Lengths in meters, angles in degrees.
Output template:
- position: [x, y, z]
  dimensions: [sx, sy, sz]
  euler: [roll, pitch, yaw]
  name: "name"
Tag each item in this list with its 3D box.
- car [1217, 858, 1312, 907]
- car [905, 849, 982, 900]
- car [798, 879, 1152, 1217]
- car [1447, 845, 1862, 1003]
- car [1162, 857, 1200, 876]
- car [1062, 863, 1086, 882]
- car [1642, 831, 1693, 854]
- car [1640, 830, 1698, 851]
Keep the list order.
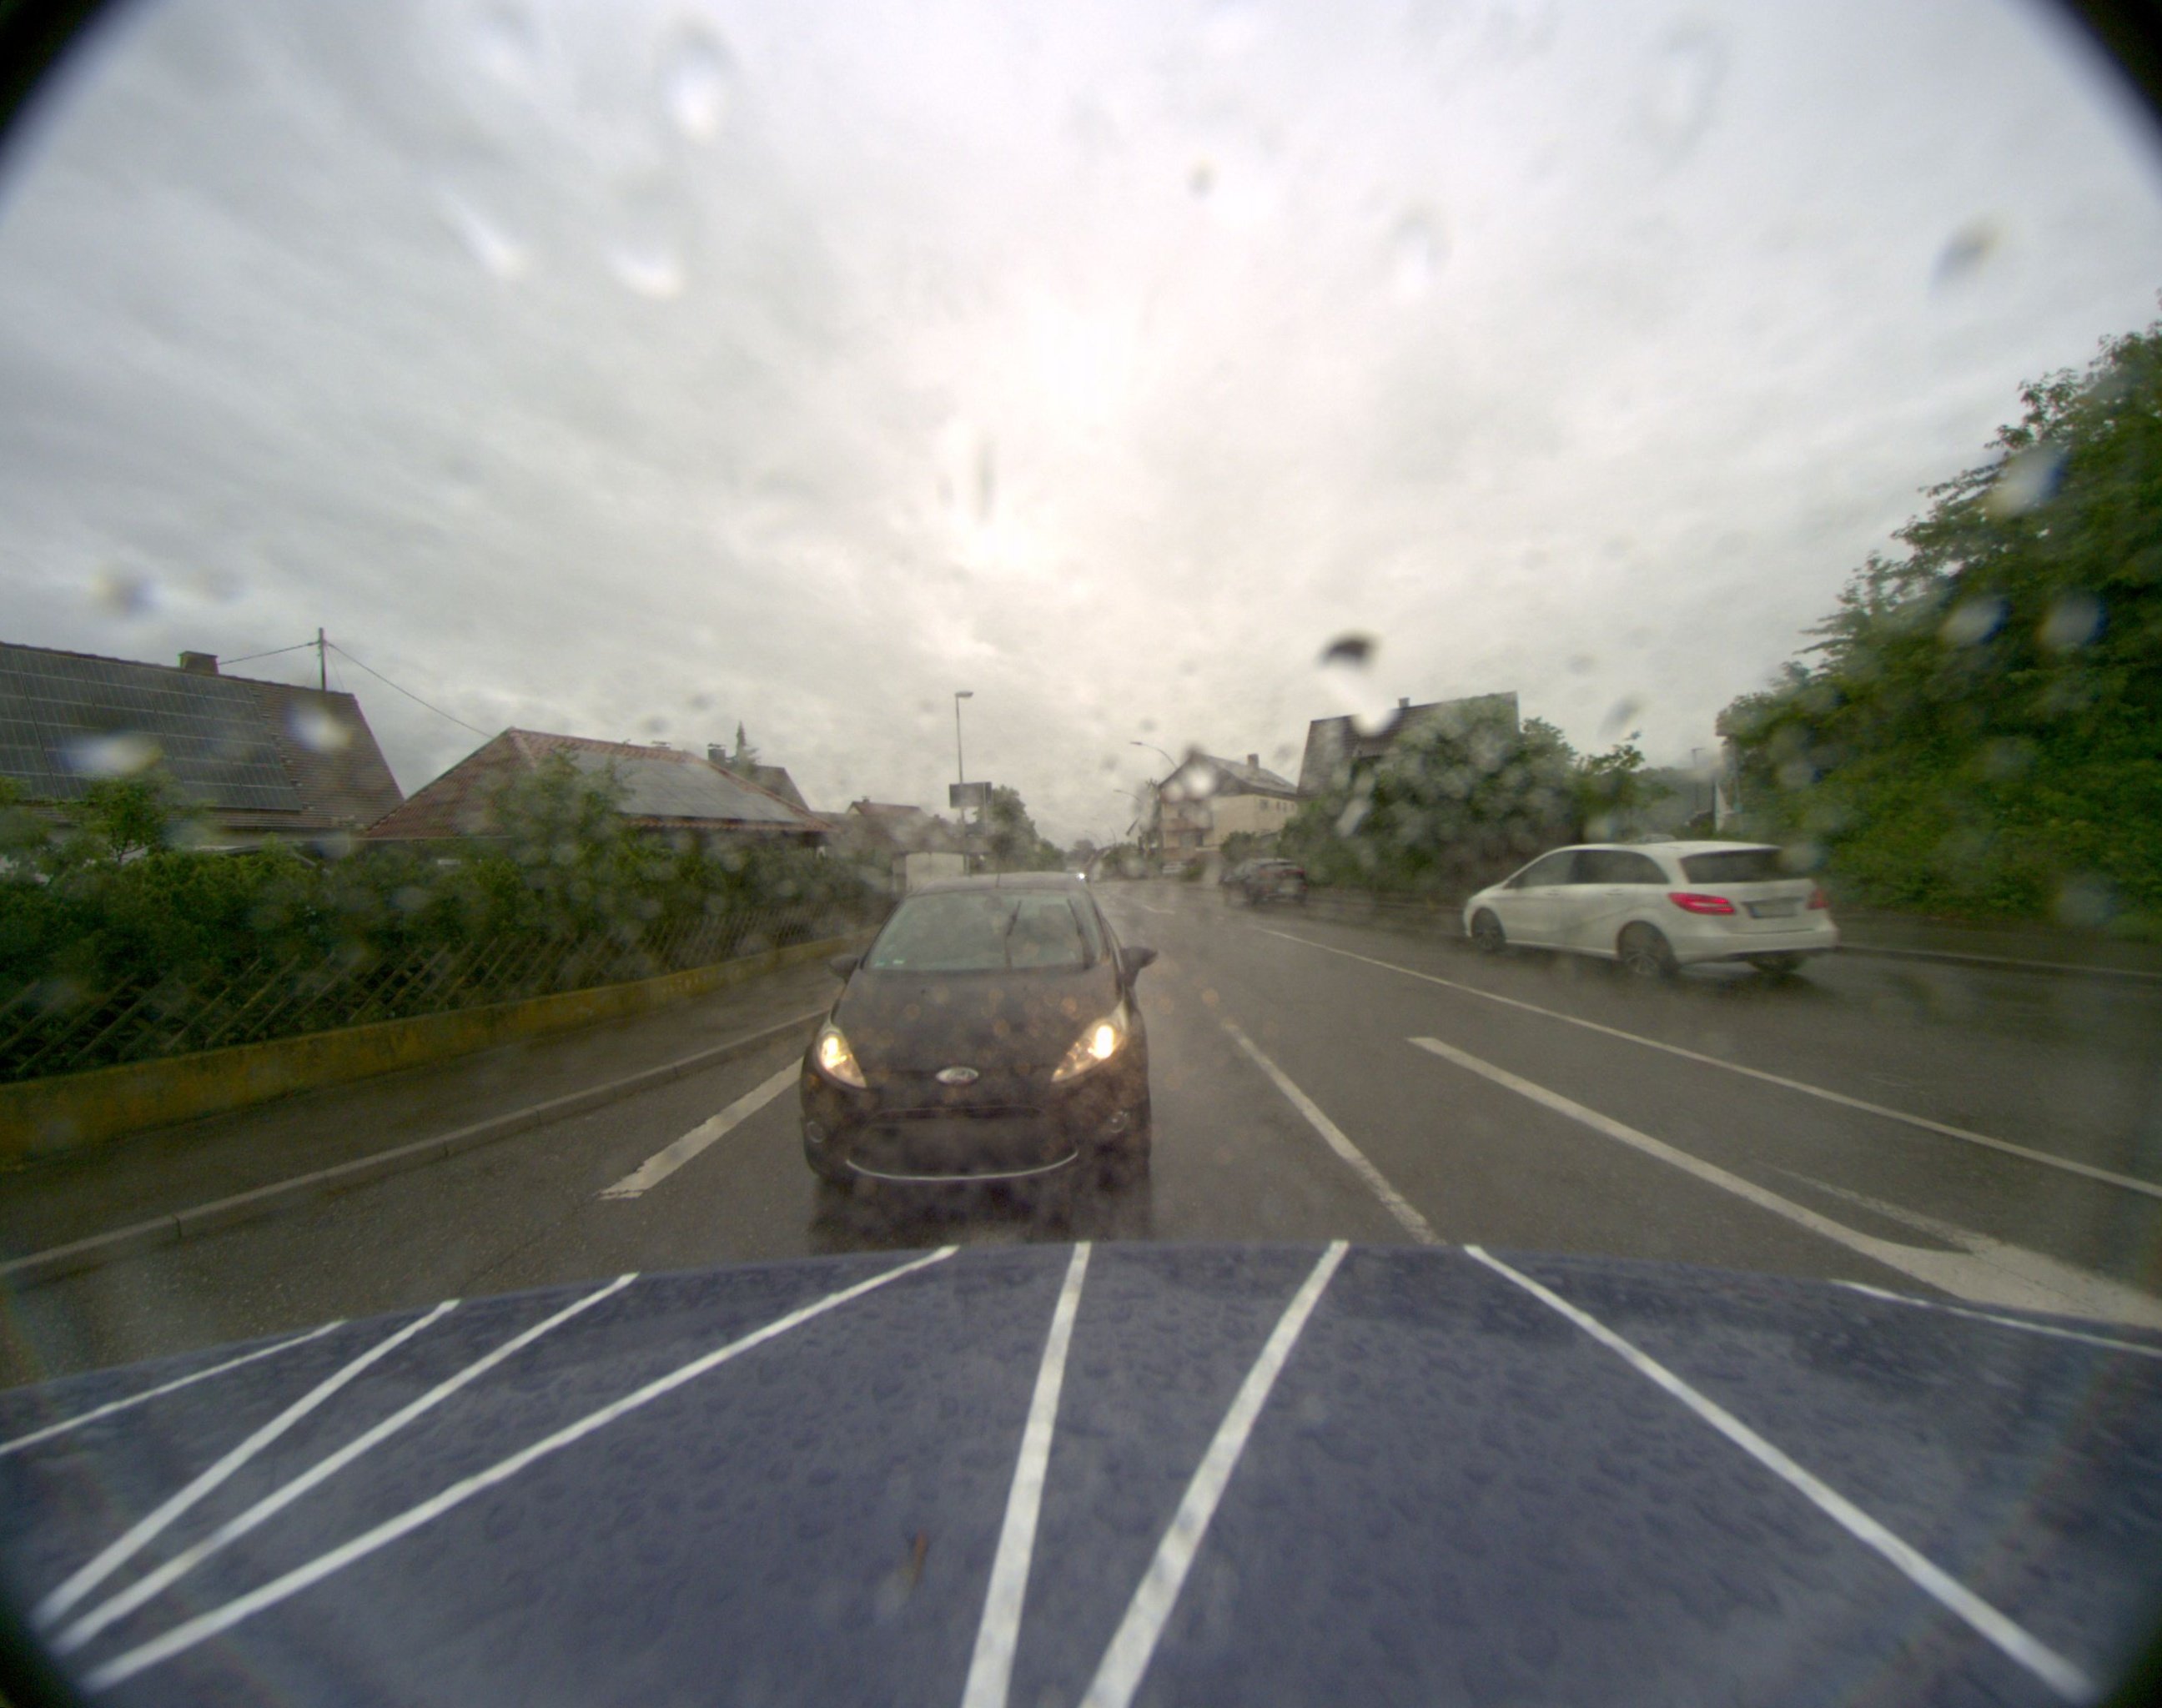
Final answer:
- position: [5.929, 0.872, 25.064]
  dimensions: [1.670, 1.430, 4.105]
  euler: [0, 0, -8]
  name: "car"
- position: [-6.914, 0.997, 38.580]
  dimensions: [1.650, 2.337, 4.007]
  euler: [-2, 0, 27]
  name: "car"
- position: [-0.558, 1.009, 5.675]
  dimensions: [1.666, 1.410, 3.931]
  euler: [-2, 1, -1]
  name: "car"
- position: [6.836, 0.704, 9.784]
  dimensions: [1.670, 1.496, 4.319]
  euler: [-3, 0, -8]
  name: "car"
- position: [8.820, 1.094, 66.883]
  dimensions: [1.661, 1.538, 4.007]
  euler: [-2, 1, 34]
  name: "car"
- position: [-0.622, 1.521, 64.746]
  dimensions: [1.899, 1.474, 3.999]
  euler: [-2, 0, -3]
  name: "car"
- position: [40.812, -0.770, 52.968]
  dimensions: [1.895, 1.474, 4.007]
  euler: [-2, 0, 24]
  name: "car"
- position: [45.555, -1.028, 58.987]
  dimensions: [1.997, 1.477, 4.004]
  euler: [-3, 0, 13]
  name: "car"
